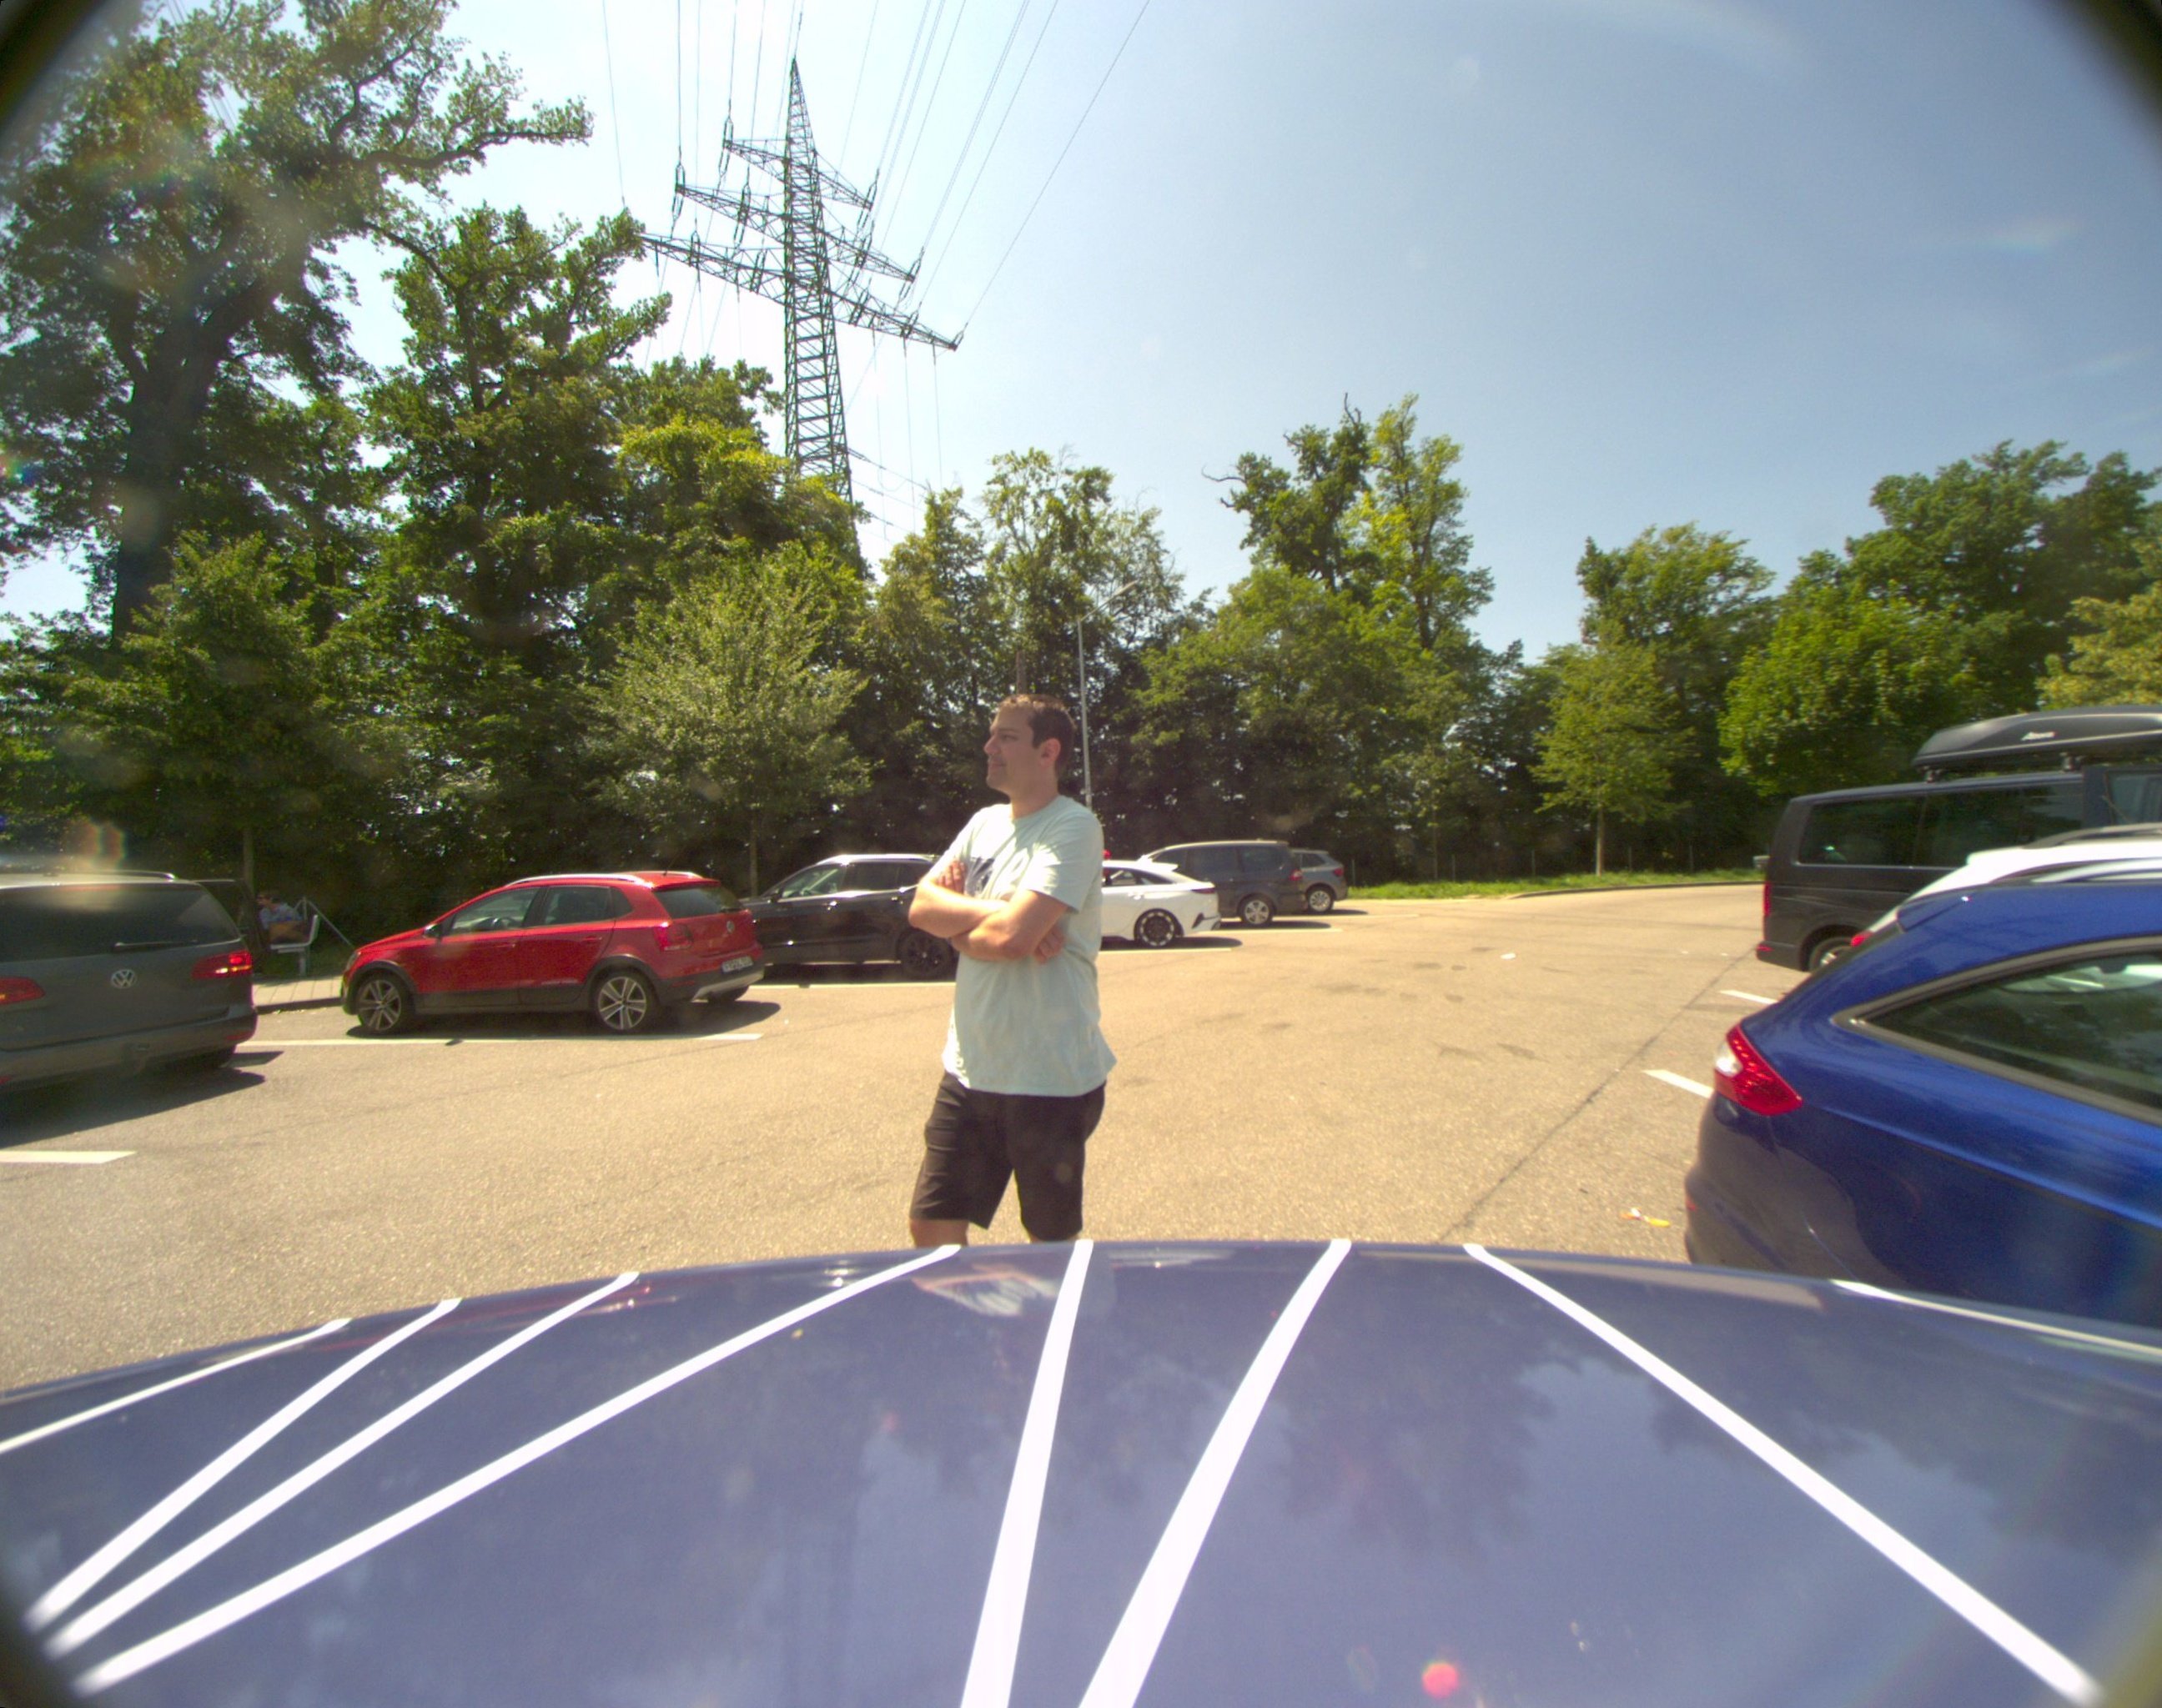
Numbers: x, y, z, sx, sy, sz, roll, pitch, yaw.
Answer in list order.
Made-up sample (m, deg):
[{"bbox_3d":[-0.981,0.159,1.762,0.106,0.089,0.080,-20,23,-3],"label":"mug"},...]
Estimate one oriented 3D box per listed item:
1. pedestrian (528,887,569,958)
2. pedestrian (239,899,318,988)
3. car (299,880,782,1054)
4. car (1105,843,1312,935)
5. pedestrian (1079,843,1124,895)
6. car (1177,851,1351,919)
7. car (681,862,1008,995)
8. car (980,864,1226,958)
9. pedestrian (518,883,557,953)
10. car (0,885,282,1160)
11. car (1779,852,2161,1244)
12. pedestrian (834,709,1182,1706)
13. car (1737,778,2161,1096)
[{"bbox_3d":[-10.178,1.294,14.518,0.490,1.291,0.506,-2,0,41],"label":"pedestrian"},{"bbox_3d":[-11.726,1.288,11.109,0.680,1.211,0.675,-4,-2,36],"label":"pedestrian"},{"bbox_3d":[-5.252,1.062,7.647,3.804,1.449,1.637,-1,1,7],"label":"car"},{"bbox_3d":[2.500,0.680,15.474,3.882,1.680,1.882,-1,0,5],"label":"car"},{"bbox_3d":[0.543,0.384,19.802,0.890,1.292,0.865,-2,0,19],"label":"pedestrian"},{"bbox_3d":[4.249,0.707,18.117,3.805,1.468,1.743,-1,1,5],"label":"car"},{"bbox_3d":[-3.017,0.937,10.274,3.806,1.538,1.759,-1,1,2],"label":"car"},{"bbox_3d":[0.398,0.907,12.724,3.805,1.359,1.803,-1,1,5],"label":"car"},{"bbox_3d":[-10.963,1.277,15.324,0.490,1.367,0.506,-2,0,41],"label":"pedestrian"},{"bbox_3d":[-8.353,1.092,5.432,3.950,1.581,1.753,-1,1,11],"label":"car"},{"bbox_3d":[4.769,0.702,2.410,1.607,1.405,3.743,-2,-1,-1],"label":"car"},{"bbox_3d":[-0.230,0.655,1.863,0.634,1.857,0.747,-2,0,-17],"label":"pedestrian"},{"bbox_3d":[7.297,0.458,5.006,2.048,1.850,4.430,-2,-1,-1],"label":"car"}]
